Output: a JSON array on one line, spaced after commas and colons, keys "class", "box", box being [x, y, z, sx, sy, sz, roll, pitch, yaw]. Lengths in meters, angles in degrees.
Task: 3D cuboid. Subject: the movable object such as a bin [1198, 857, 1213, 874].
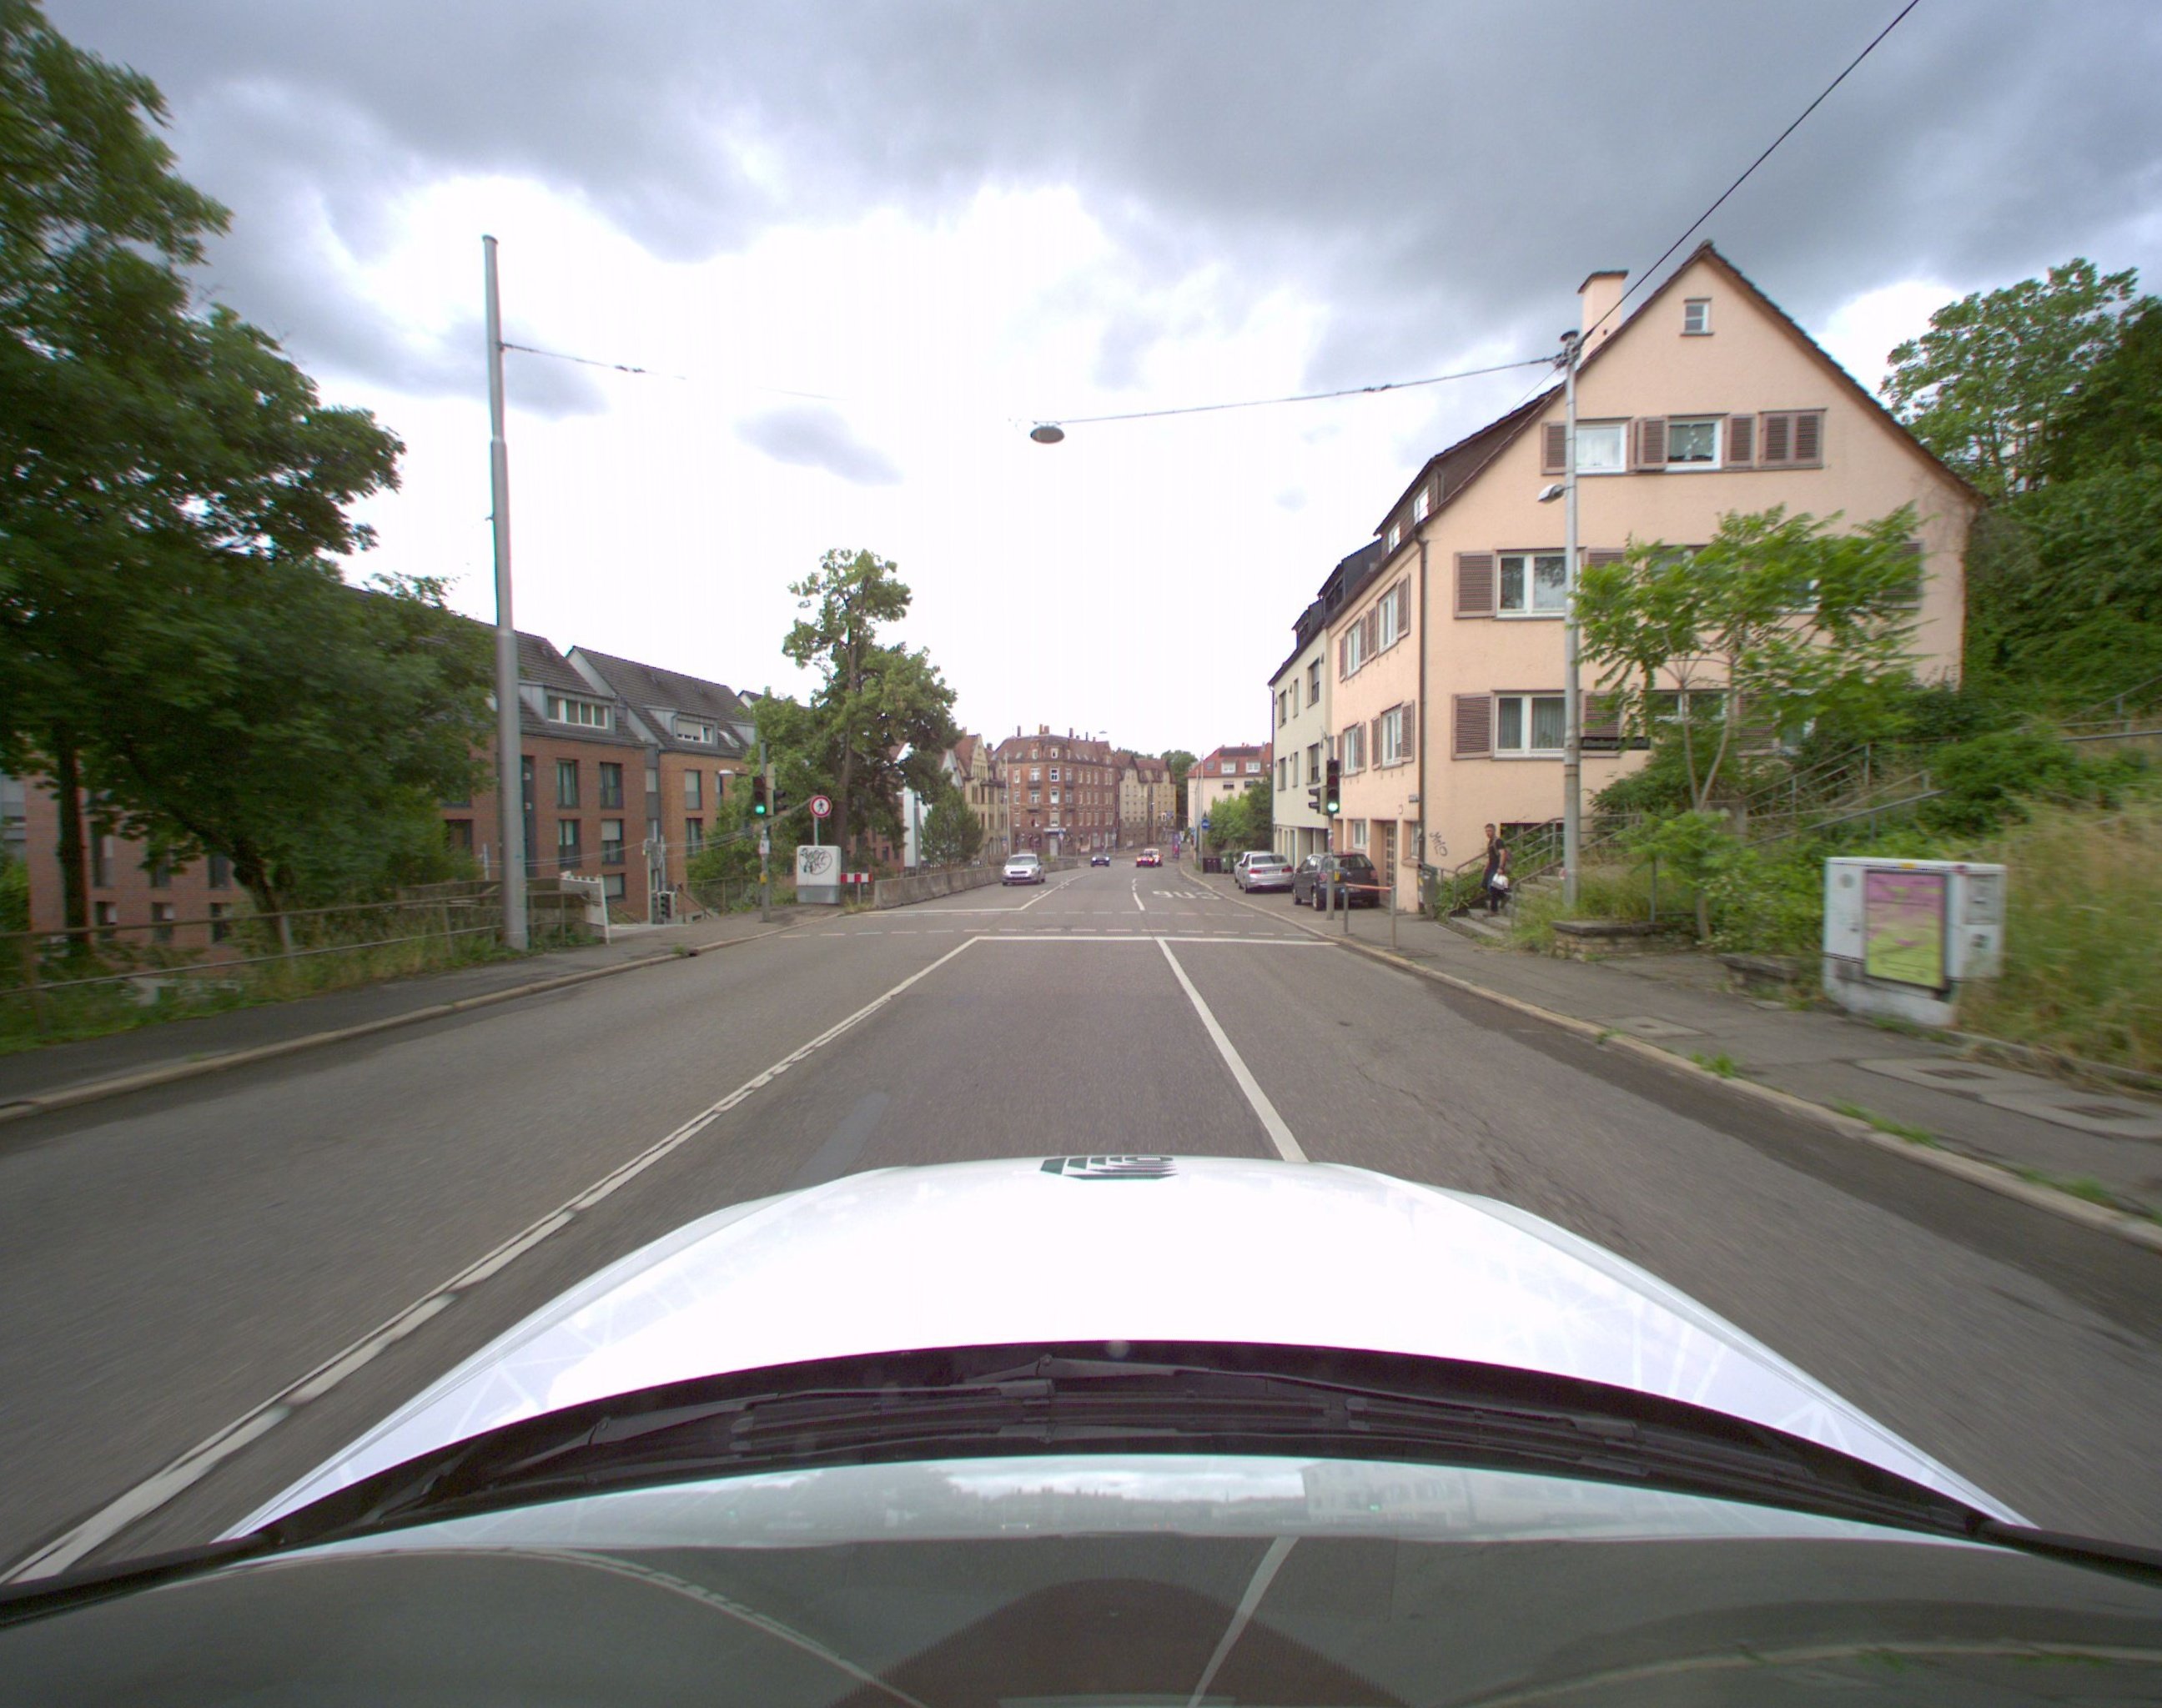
[{"class": "movable object such as a bin", "box": [8.072, 0.733, 52.895, 0.743, 1.058, 0.676, -1, -1, -13]}]

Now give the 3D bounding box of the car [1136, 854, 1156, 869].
[{"class": "car", "box": [6.573, 0.710, 82.417, 1.807, 1.430, 4.008, 1, 0, 7]}]

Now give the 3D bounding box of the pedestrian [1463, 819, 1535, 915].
[{"class": "pedestrian", "box": [7.664, 0.232, 14.967, 0.884, 1.696, 0.872, 1, -1, -1]}]

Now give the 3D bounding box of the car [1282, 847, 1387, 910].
[{"class": "car", "box": [6.770, 0.626, 22.154, 1.675, 1.451, 4.002, -4, -1, 2]}]

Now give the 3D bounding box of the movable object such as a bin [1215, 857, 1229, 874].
[{"class": "movable object such as a bin", "box": [8.817, 0.701, 50.859, 0.710, 1.058, 0.545, -1, -1, -13]}]

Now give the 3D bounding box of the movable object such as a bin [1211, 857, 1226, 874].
[{"class": "movable object such as a bin", "box": [8.677, 0.710, 51.516, 0.743, 1.058, 0.676, -1, -1, -13]}]

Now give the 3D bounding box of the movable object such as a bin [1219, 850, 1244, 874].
[{"class": "movable object such as a bin", "box": [9.186, 0.482, 49.754, 1.048, 1.445, 1.412, -1, -1, -13]}]

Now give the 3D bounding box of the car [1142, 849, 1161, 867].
[{"class": "car", "box": [7.763, 0.395, 89.120, 1.899, 1.884, 4.008, 1, 0, 7]}]

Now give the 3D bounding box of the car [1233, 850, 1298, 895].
[{"class": "car", "box": [6.930, 0.634, 31.026, 1.785, 1.451, 4.726, -4, 0, 6]}]

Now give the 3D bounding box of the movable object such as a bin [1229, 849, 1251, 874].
[{"class": "movable object such as a bin", "box": [9.358, 0.460, 47.914, 1.044, 1.445, 1.205, -1, -1, 0]}]

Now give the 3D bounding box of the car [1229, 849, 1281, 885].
[{"class": "car", "box": [7.660, 0.558, 36.143, 1.785, 1.423, 4.012, -2, 0, 6]}]

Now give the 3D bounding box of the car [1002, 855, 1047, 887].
[{"class": "car", "box": [-2.691, 0.784, 39.543, 1.714, 1.445, 4.161, -2, 0, 2]}]

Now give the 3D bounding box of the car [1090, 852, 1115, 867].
[{"class": "car", "box": [2.407, 0.608, 90.529, 1.969, 1.575, 4.388, -3, 0, 11]}]

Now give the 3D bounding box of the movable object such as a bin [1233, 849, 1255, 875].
[{"class": "movable object such as a bin", "box": [9.302, 0.474, 46.422, 1.043, 1.445, 1.206, -1, -1, 3]}]

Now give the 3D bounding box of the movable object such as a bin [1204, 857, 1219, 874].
[{"class": "movable object such as a bin", "box": [8.397, 0.730, 52.248, 0.743, 1.058, 0.676, -1, -1, -13]}]
